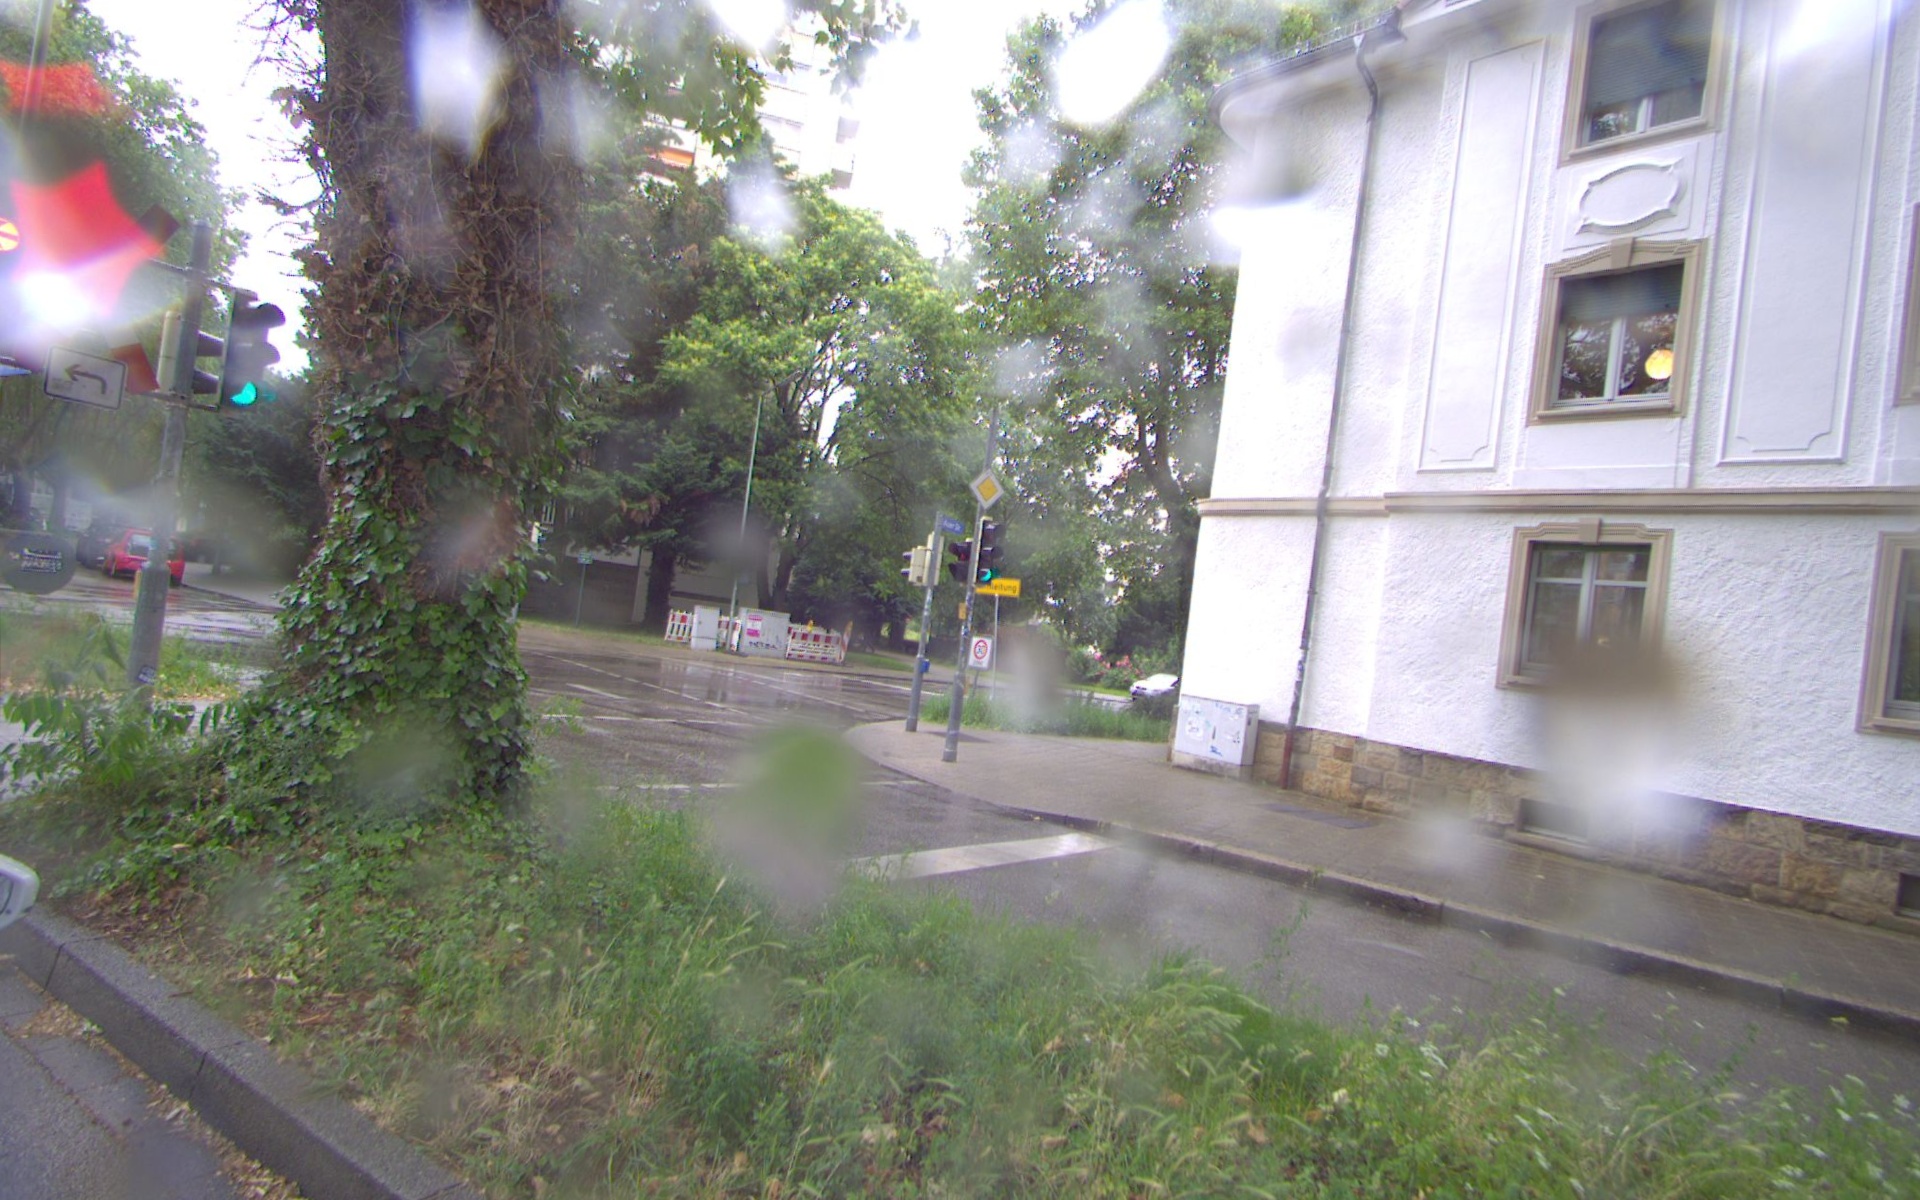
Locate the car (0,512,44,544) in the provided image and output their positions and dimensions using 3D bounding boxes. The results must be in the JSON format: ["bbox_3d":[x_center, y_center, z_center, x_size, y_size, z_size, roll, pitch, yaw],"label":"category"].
[{"bbox_3d":[-56.208,-4.367,58.639,1.974,1.565,3.980,6,-3,44],"label":"car"}]

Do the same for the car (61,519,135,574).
[{"bbox_3d":[-32.987,-2.072,38.464,1.779,1.747,3.951,9,-2,-44],"label":"car"}]

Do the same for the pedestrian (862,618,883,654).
[{"bbox_3d":[-4.807,1.985,55.205,0.675,1.863,0.707,8,-1,-44],"label":"pedestrian"}]

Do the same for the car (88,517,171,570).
[{"bbox_3d":[-28.102,-1.933,34.009,1.780,1.363,3.879,10,-2,-44],"label":"car"}]

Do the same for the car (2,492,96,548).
[{"bbox_3d":[-61.115,-5.379,67.543,4.680,2.982,2.043,7,-1,12],"label":"car"}]

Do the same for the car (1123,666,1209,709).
[{"bbox_3d":[9.408,4.004,45.813,1.829,1.473,3.979,6,-3,45],"label":"car"}]

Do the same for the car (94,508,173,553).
[{"bbox_3d":[-69.652,-5.827,84.824,4.683,2.982,2.001,7,-1,1],"label":"car"}]

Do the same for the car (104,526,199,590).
[{"bbox_3d":[-24.835,-1.305,30.852,1.788,1.515,3.950,10,-2,-44],"label":"car"}]
